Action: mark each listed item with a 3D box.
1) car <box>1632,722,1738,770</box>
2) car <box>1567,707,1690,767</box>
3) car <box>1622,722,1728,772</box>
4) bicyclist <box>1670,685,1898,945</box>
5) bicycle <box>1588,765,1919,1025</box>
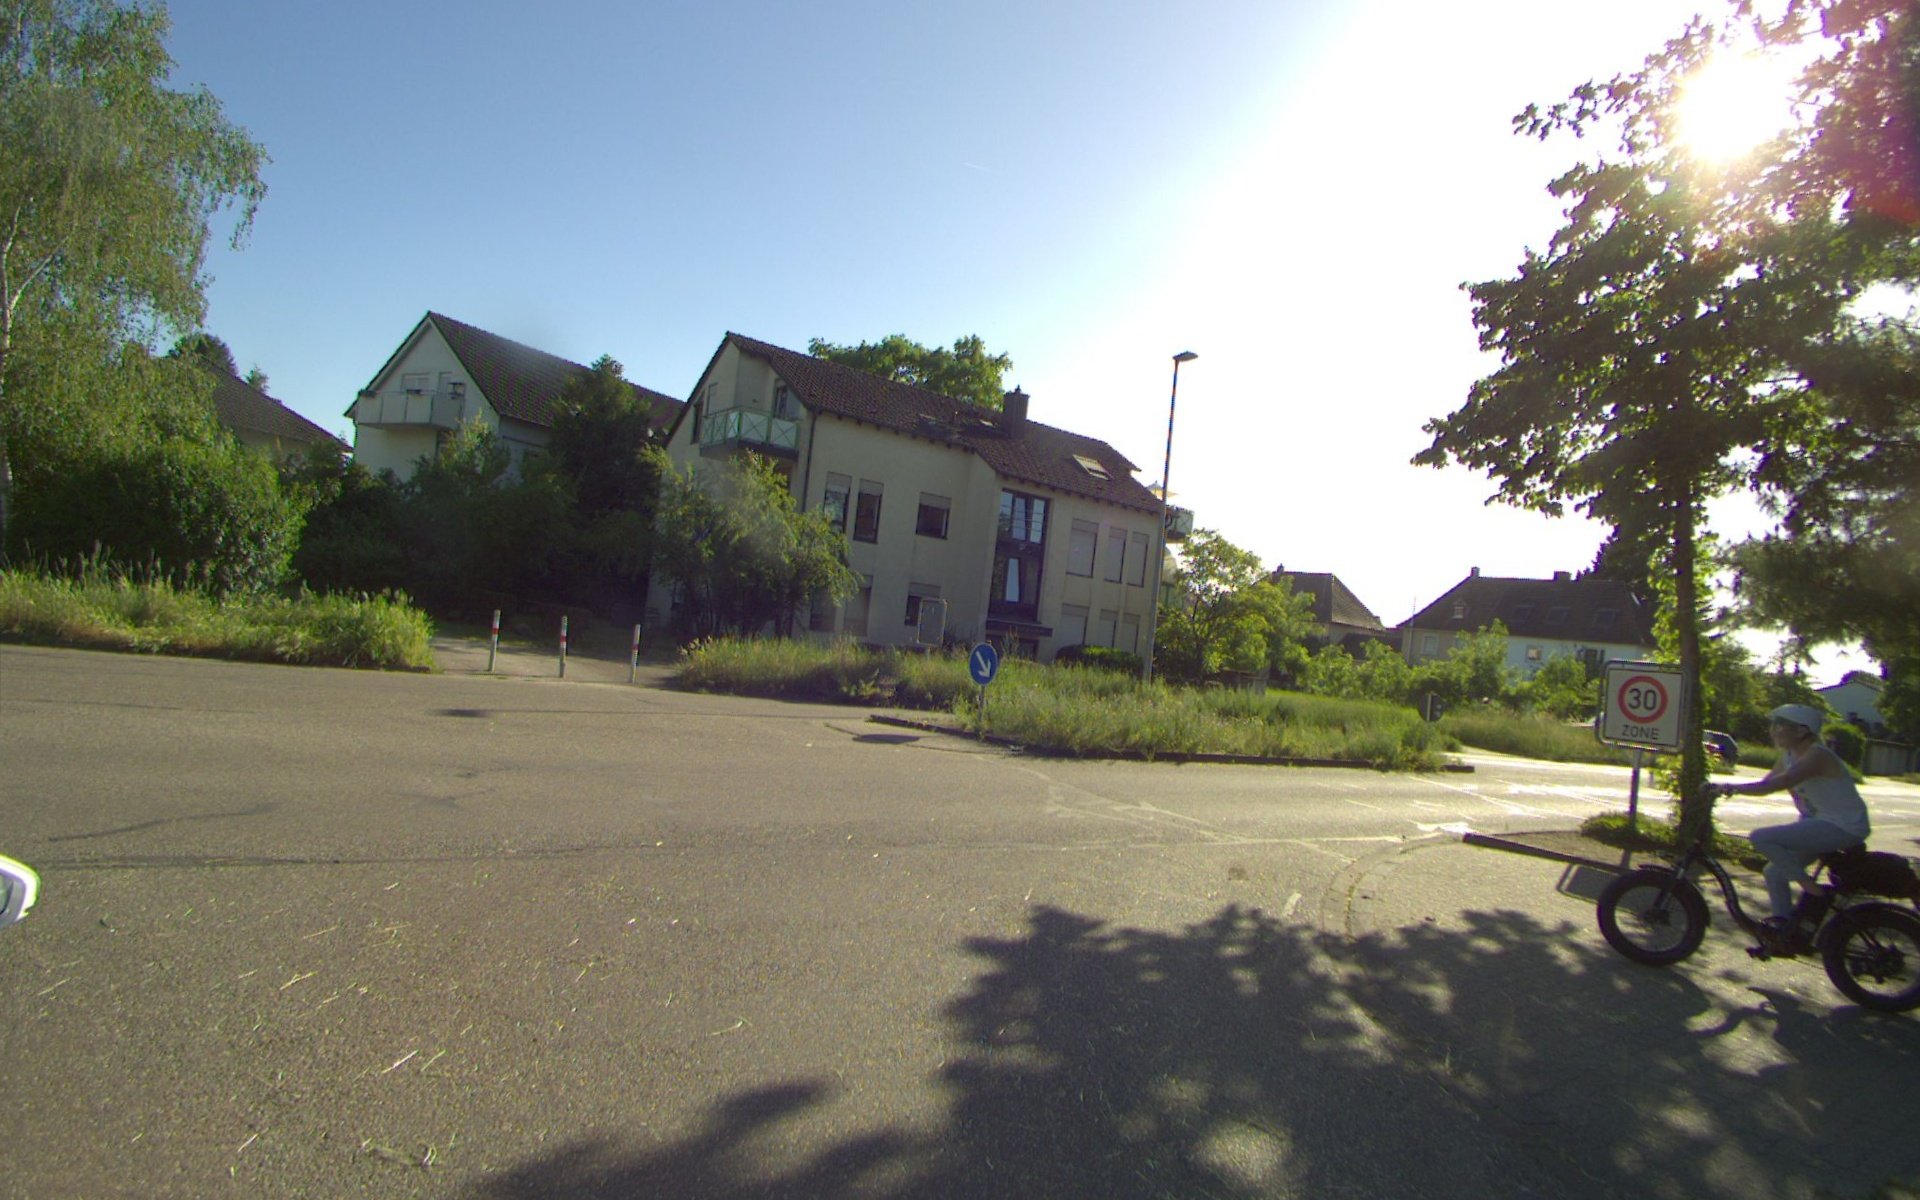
[{"bbox_3d":[31.009,6.215,43.130,3.479,1.433,1.677,6,-1,33],"label":"car"},{"bbox_3d":[26.356,5.383,39.778,3.582,1.737,1.749,6,-1,19],"label":"car"},{"bbox_3d":[29.165,5.978,41.131,3.340,1.458,1.612,6,-1,33],"label":"car"},{"bbox_3d":[4.974,1.251,6.137,0.823,1.363,0.638,6,-1,25],"label":"bicyclist"},{"bbox_3d":[4.997,1.757,6.094,1.864,1.159,0.458,7,0,24],"label":"bicycle"}]
